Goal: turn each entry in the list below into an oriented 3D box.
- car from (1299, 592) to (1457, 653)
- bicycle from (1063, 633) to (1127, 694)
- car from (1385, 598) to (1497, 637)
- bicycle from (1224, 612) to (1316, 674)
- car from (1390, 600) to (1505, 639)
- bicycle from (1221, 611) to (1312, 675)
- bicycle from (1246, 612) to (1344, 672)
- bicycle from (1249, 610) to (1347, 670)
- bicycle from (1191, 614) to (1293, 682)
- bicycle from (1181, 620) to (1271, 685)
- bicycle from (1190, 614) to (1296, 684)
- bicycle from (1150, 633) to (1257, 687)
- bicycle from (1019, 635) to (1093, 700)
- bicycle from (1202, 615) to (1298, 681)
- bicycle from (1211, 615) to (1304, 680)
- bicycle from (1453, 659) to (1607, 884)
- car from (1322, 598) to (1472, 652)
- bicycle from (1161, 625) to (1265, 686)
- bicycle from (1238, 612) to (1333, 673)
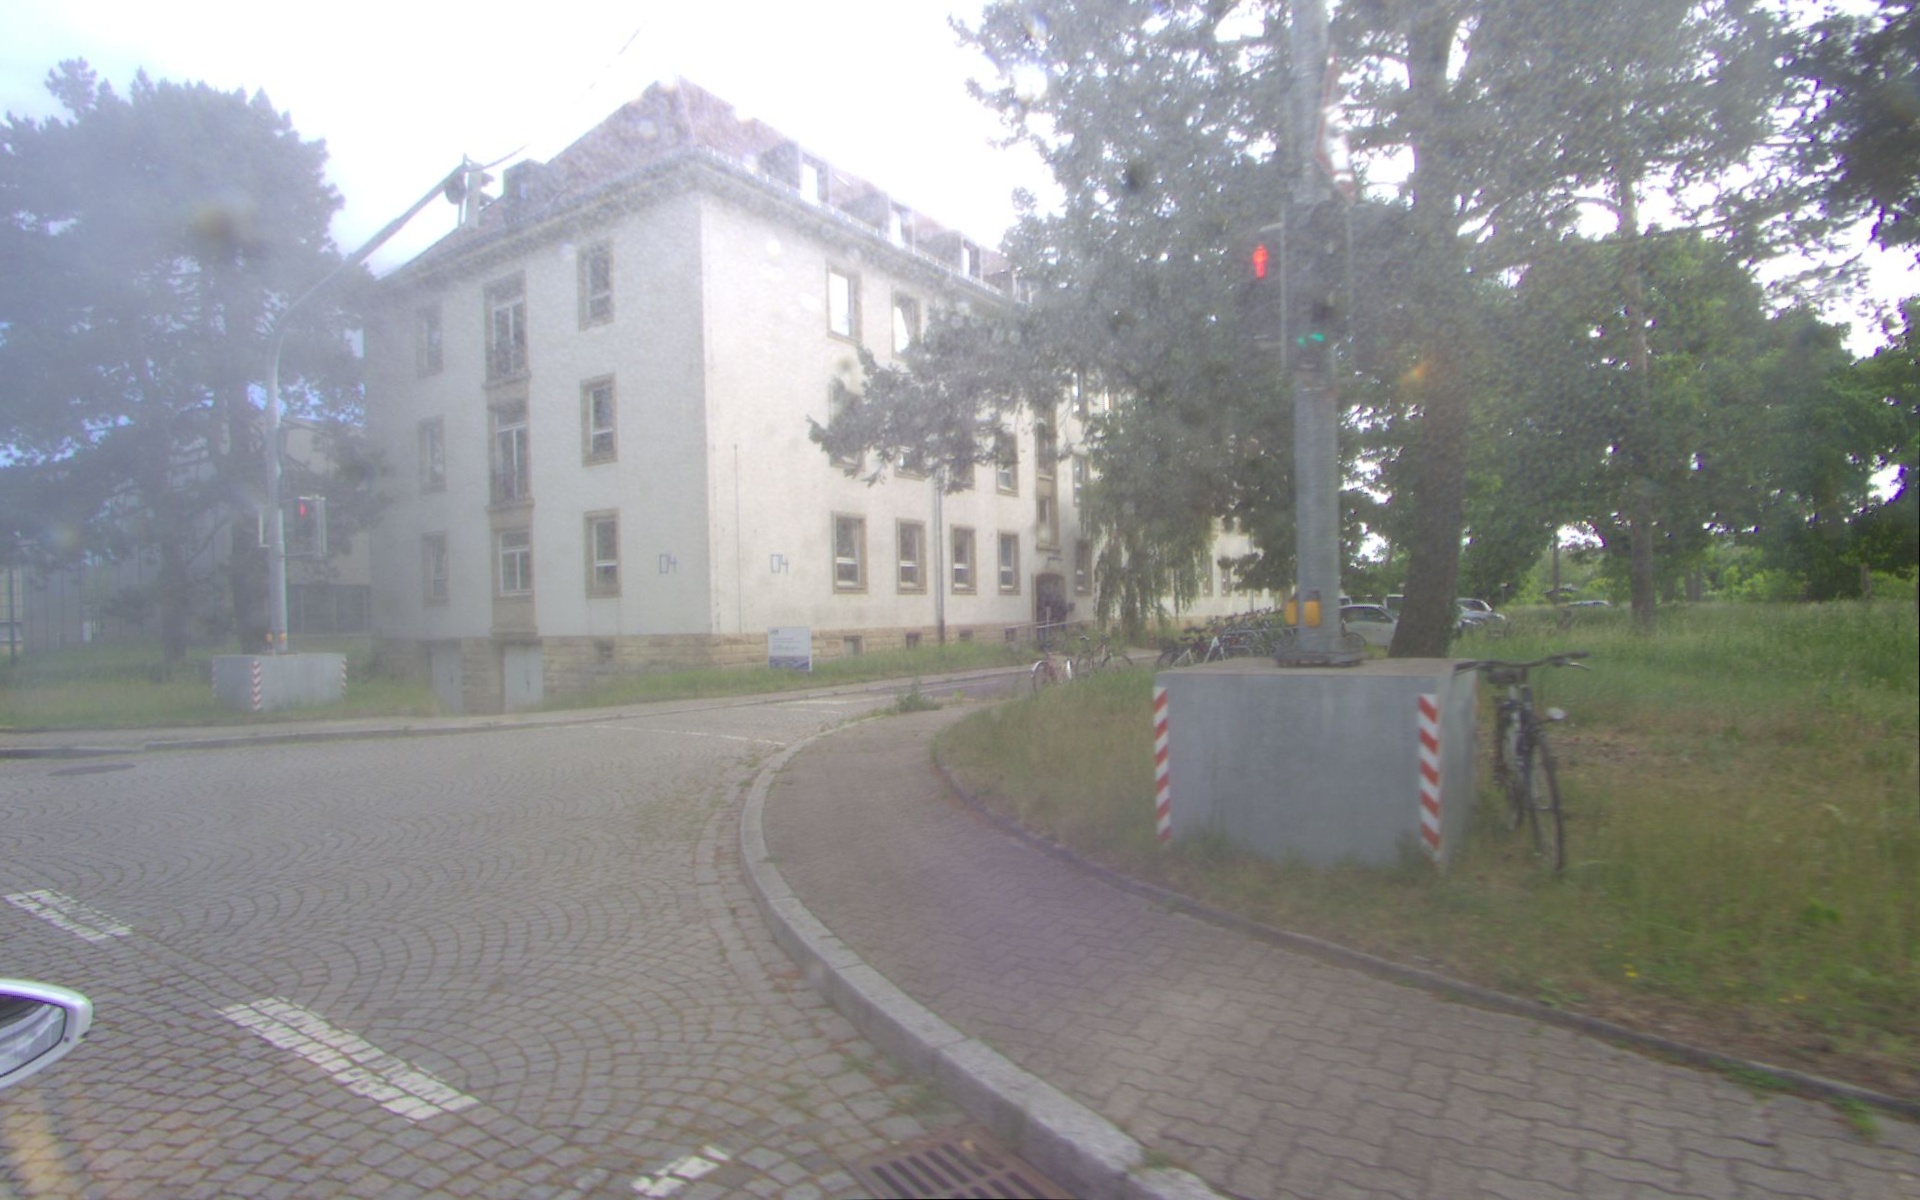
[{"bbox_3d":[14.021,0.779,33.940,4.777,1.935,2.236,-1,-1,19],"label":"car"},{"bbox_3d":[2.466,1.134,18.191,0.535,1.027,1.533,-1,-1,33],"label":"bicycle"},{"bbox_3d":[23.174,0.856,48.319,4.633,1.796,1.988,-2,-1,35],"label":"car"},{"bbox_3d":[6.927,0.944,22.432,1.915,1.337,0.551,-1,-1,39],"label":"bicycle"},{"bbox_3d":[22.005,0.890,45.260,4.456,1.639,1.988,-2,-1,35],"label":"car"},{"bbox_3d":[6.674,0.931,21.869,1.830,1.337,0.553,-1,-1,39],"label":"bicycle"},{"bbox_3d":[7.754,0.966,23.236,2.106,1.337,0.552,-2,-1,39],"label":"bicycle"},{"bbox_3d":[8.047,0.940,23.894,2.077,1.385,0.754,-1,0,39],"label":"bicycle"},{"bbox_3d":[5.778,0.975,20.583,1.952,1.337,0.574,-1,-1,39],"label":"bicycle"},{"bbox_3d":[5.214,1.011,19.671,1.619,1.231,0.539,-1,-1,39],"label":"bicycle"},{"bbox_3d":[5.622,0.957,20.003,2.023,1.337,0.435,-1,-1,39],"label":"bicycle"},{"bbox_3d":[4.519,1.099,18.658,1.879,0.961,0.539,-2,-1,39],"label":"bicycle"},{"bbox_3d":[1.616,1.090,16.653,0.523,0.993,1.617,-1,-1,33],"label":"bicycle"},{"bbox_3d":[6.086,0.990,21.085,1.897,1.337,0.503,-1,-1,39],"label":"bicycle"},{"bbox_3d":[6.358,0.998,21.444,1.895,1.337,0.390,-1,0,39],"label":"bicycle"},{"bbox_3d":[2.991,0.791,5.178,0.565,0.885,1.695,-1,-1,34],"label":"bicycle"},{"bbox_3d":[13.244,0.766,30.415,3.880,1.550,1.851,-2,-1,36],"label":"car"},{"bbox_3d":[4.837,1.044,19.230,1.879,1.116,0.539,-2,-1,39],"label":"bicycle"},{"bbox_3d":[7.386,0.955,22.801,1.991,1.337,0.538,-1,-1,39],"label":"bicycle"}]
